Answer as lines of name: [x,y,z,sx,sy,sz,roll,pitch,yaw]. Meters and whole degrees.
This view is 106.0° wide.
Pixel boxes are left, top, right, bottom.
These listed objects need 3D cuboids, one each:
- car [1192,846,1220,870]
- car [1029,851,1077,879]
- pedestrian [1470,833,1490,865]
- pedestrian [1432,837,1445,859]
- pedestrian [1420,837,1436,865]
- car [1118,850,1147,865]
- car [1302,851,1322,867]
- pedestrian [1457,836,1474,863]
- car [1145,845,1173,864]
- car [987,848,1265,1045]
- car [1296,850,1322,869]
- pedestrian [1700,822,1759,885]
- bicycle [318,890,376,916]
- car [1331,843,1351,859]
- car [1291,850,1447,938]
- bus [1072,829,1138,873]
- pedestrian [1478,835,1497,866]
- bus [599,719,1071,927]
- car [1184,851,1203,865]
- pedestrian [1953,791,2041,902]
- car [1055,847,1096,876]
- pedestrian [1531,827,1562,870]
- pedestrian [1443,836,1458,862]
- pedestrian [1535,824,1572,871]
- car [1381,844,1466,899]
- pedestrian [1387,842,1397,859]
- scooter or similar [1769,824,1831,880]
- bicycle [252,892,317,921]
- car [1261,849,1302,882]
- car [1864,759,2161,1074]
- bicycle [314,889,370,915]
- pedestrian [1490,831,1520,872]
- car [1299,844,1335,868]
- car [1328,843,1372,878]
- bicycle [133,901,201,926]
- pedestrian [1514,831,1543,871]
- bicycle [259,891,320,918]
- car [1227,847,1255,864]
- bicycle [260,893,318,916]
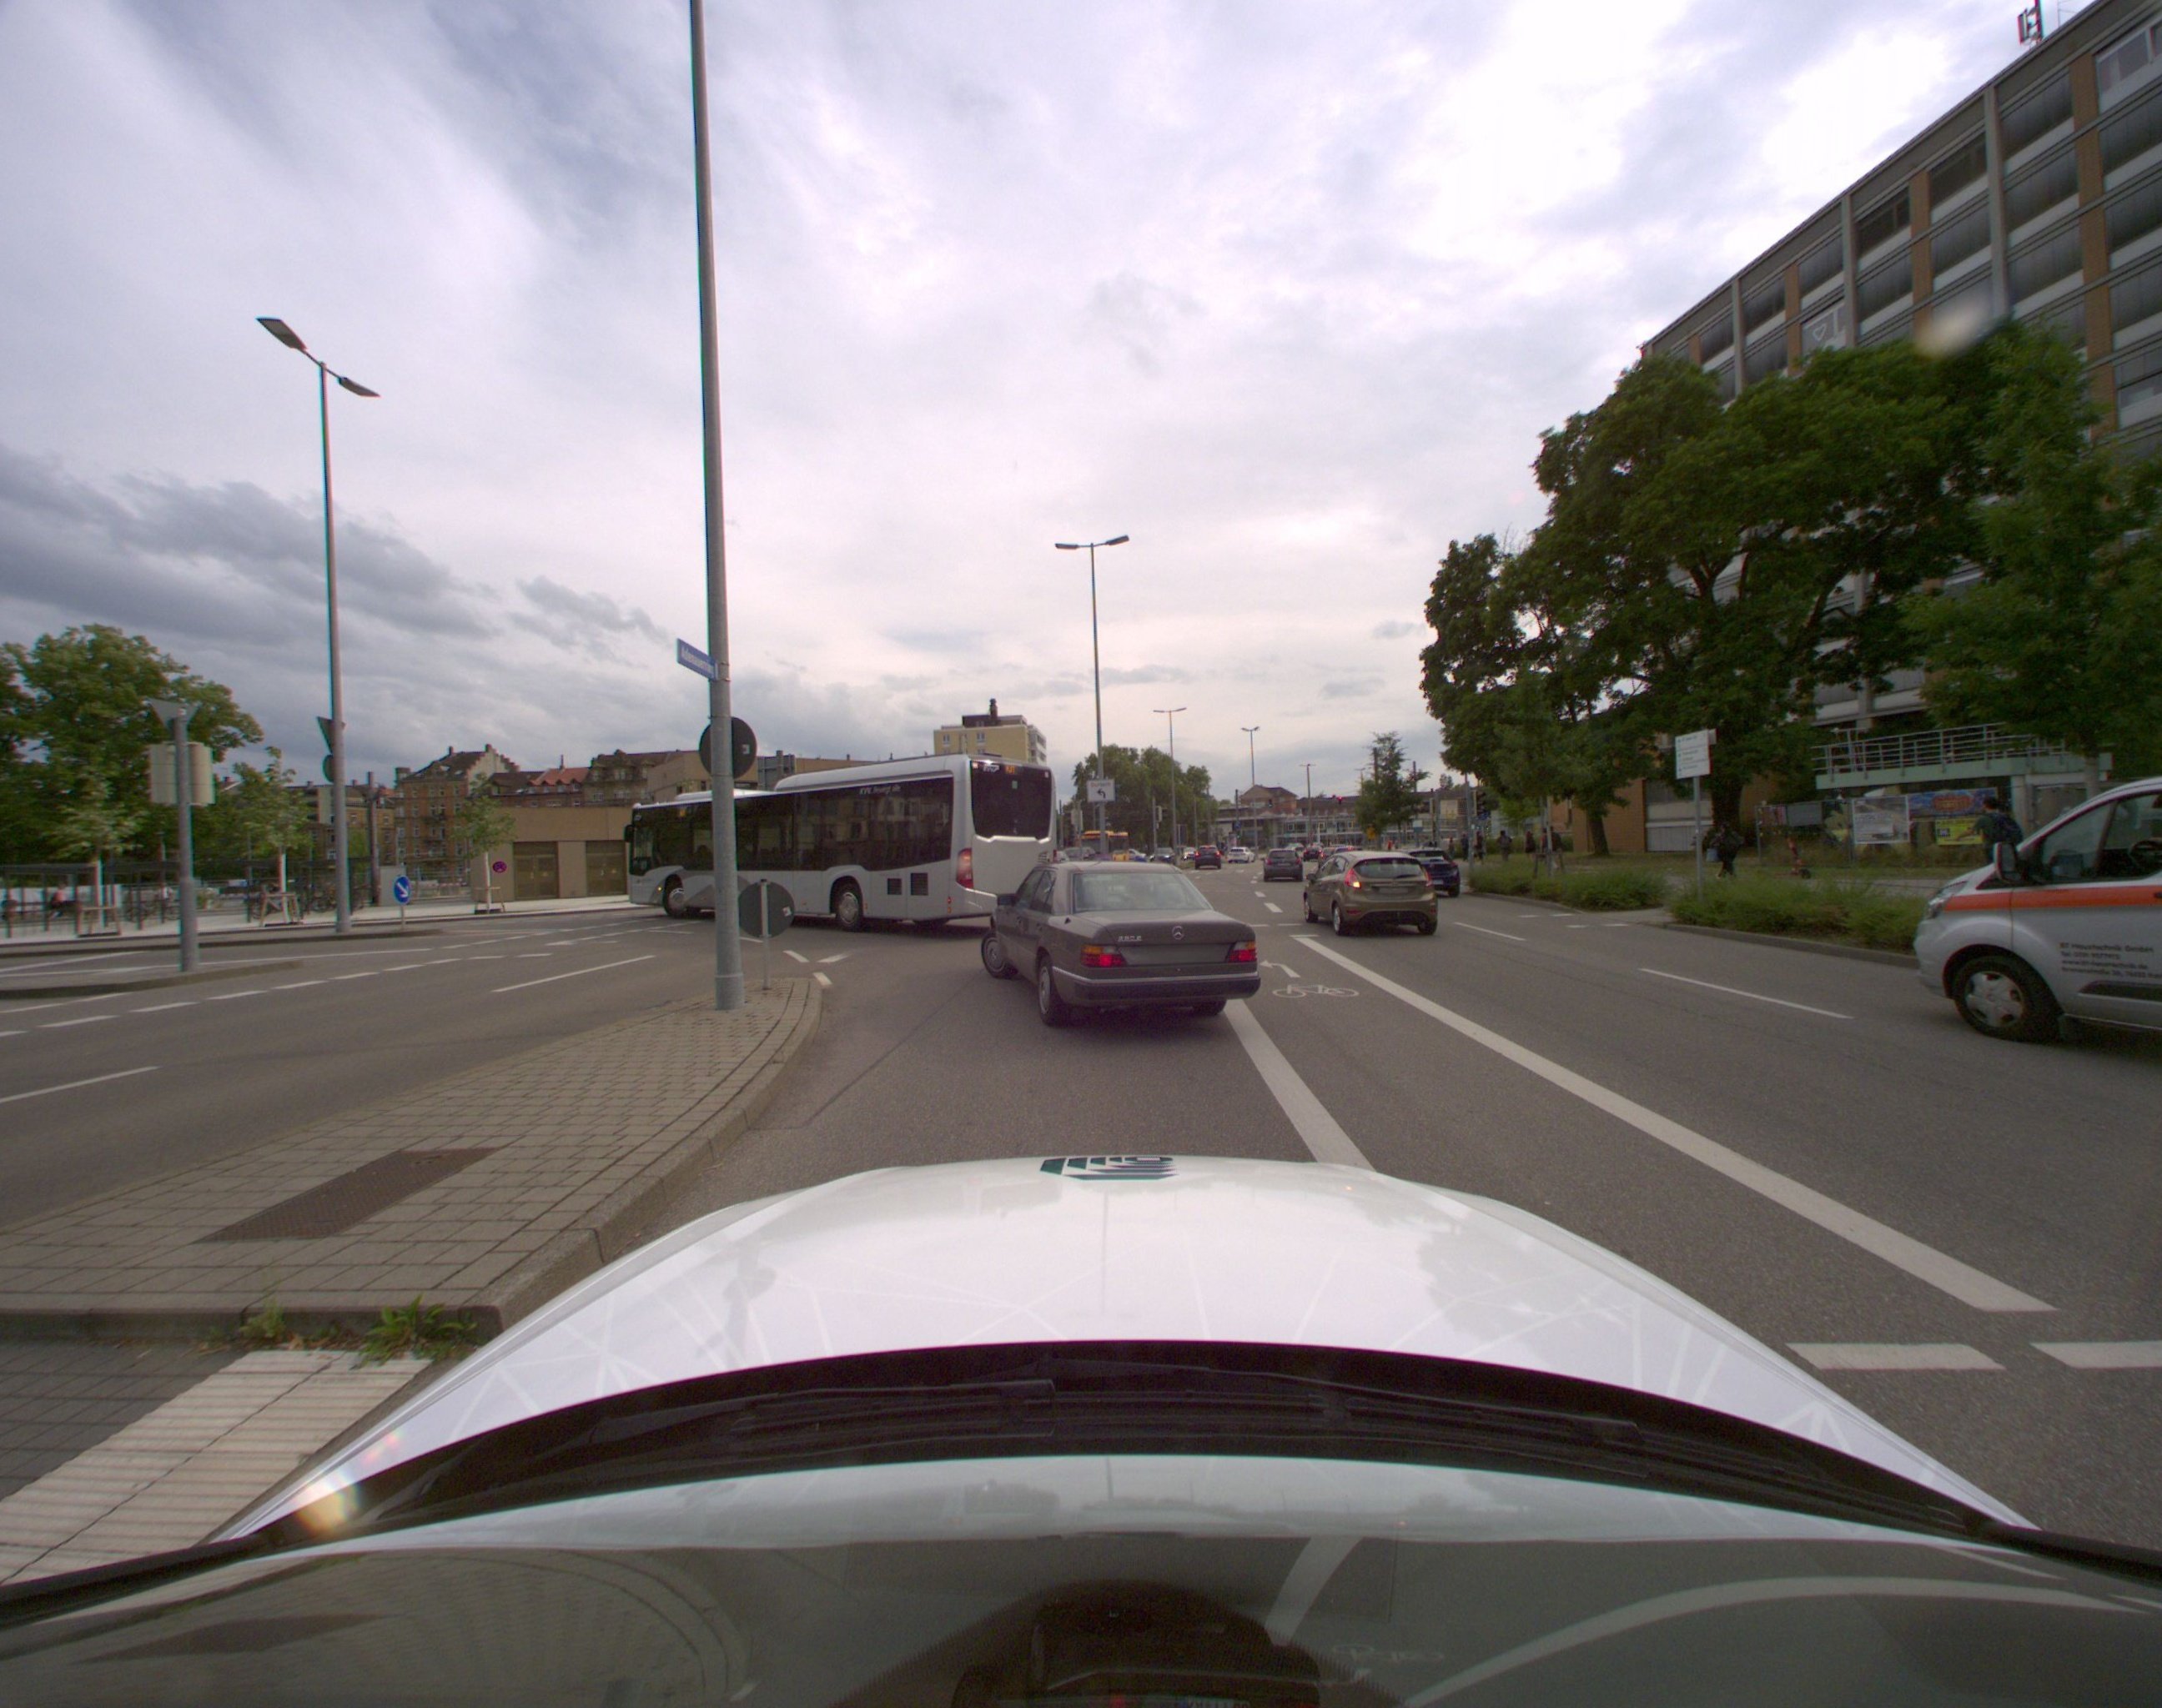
car: [8.917,0.270,57.982,1.823,1.615,3.557,-1,0,11]
car: [-1.685,0.669,50.300,1.981,1.651,4.303,-1,0,11]
pedestrian: [20.749,-0.267,42.371,0.771,1.574,0.817,-4,-1,23]
pedestrian: [25.887,-0.455,59.027,0.771,1.574,0.817,-4,-1,23]
pedestrian: [20.139,-0.188,47.239,0.771,1.574,0.817,-4,-1,23]
car: [6.962,0.482,111.092,2.007,2.014,3.959,0,-1,-32]
car: [21.376,0.469,75.194,1.697,1.420,4.018,-1,0,17]
pedestrian: [23.598,-0.265,49.998,0.771,1.574,0.817,-4,-1,23]
car: [7.106,0.078,73.788,1.981,1.651,4.526,-1,0,11]
car: [0.140,0.713,8.510,1.697,1.480,4.395,0,0,-14]
car: [16.953,0.407,60.497,1.697,1.420,4.018,-1,0,17]
pedestrian: [16.836,-0.015,21.157,0.775,1.574,0.812,-4,-1,0]
bicycle: [-35.124,2.318,38.989,0.576,1.156,1.979,-1,-1,40]
car: [23.238,-0.251,72.814,1.690,1.420,3.717,-1,0,17]
car: [5.156,0.663,15.086,1.688,1.405,3.702,0,0,2]
bus: [2.215,-0.193,67.956,3.126,3.255,12.456,-1,0,13]
pedestrian: [21.839,-0.201,43.736,0.771,1.574,0.817,-4,-1,23]
bus: [-6.628,-0.204,18.803,13.999,3.438,2.731,-4,-1,38]
car: [13.328,0.503,96.259,1.981,1.651,4.526,-1,0,11]
pedestrian: [15.885,-0.120,14.137,0.636,1.852,0.708,-3,-1,0]
car: [-0.349,0.511,56.955,1.981,1.898,4.303,-1,0,11]
pedestrian: [19.083,-0.224,33.382,0.775,1.711,0.812,0,-1,0]
pedestrian: [23.630,-0.330,52.068,0.771,1.574,0.817,-4,-1,23]
pedestrian: [17.457,-0.237,30.113,0.775,1.711,1.028,0,-1,0]
car: [10.081,0.488,24.225,1.655,1.508,3.646,-1,0,11]
pedestrian: [29.848,-0.379,78.177,0.771,1.574,0.817,-4,-1,23]
scooter or similar: [17.914,-0.048,20.311,0.398,1.370,1.143,0,-1,-13]
bicycle: [-34.853,2.293,35.672,0.576,1.156,1.979,-1,-1,40]
car: [9.168,0.508,37.003,1.698,1.420,4.016,-1,0,15]
car: [7.615,0.378,4.435,1.812,1.959,5.207,0,0,2]
bicycle: [-36.208,2.333,39.934,0.576,1.156,1.979,-1,-1,40]
pedestrian: [18.172,-0.093,34.920,0.775,1.711,1.028,0,-1,0]
car: [14.900,0.139,51.301,2.115,1.420,3.717,-1,0,17]
car: [12.551,0.318,38.180,1.843,1.533,4.019,-1,0,16]
bicycle: [-40.317,2.619,35.959,1.978,0.955,0.577,0,-1,-44]
pedestrian: [19.387,-0.136,35.299,0.775,1.711,0.812,0,-1,0]
bicycle: [-36.662,2.322,37.749,0.576,1.156,1.979,-1,-1,40]
car: [14.355,0.123,72.948,1.695,1.420,4.022,-1,0,23]
bicycle: [-38.334,2.440,39.448,1.978,0.970,0.577,0,-1,-44]
